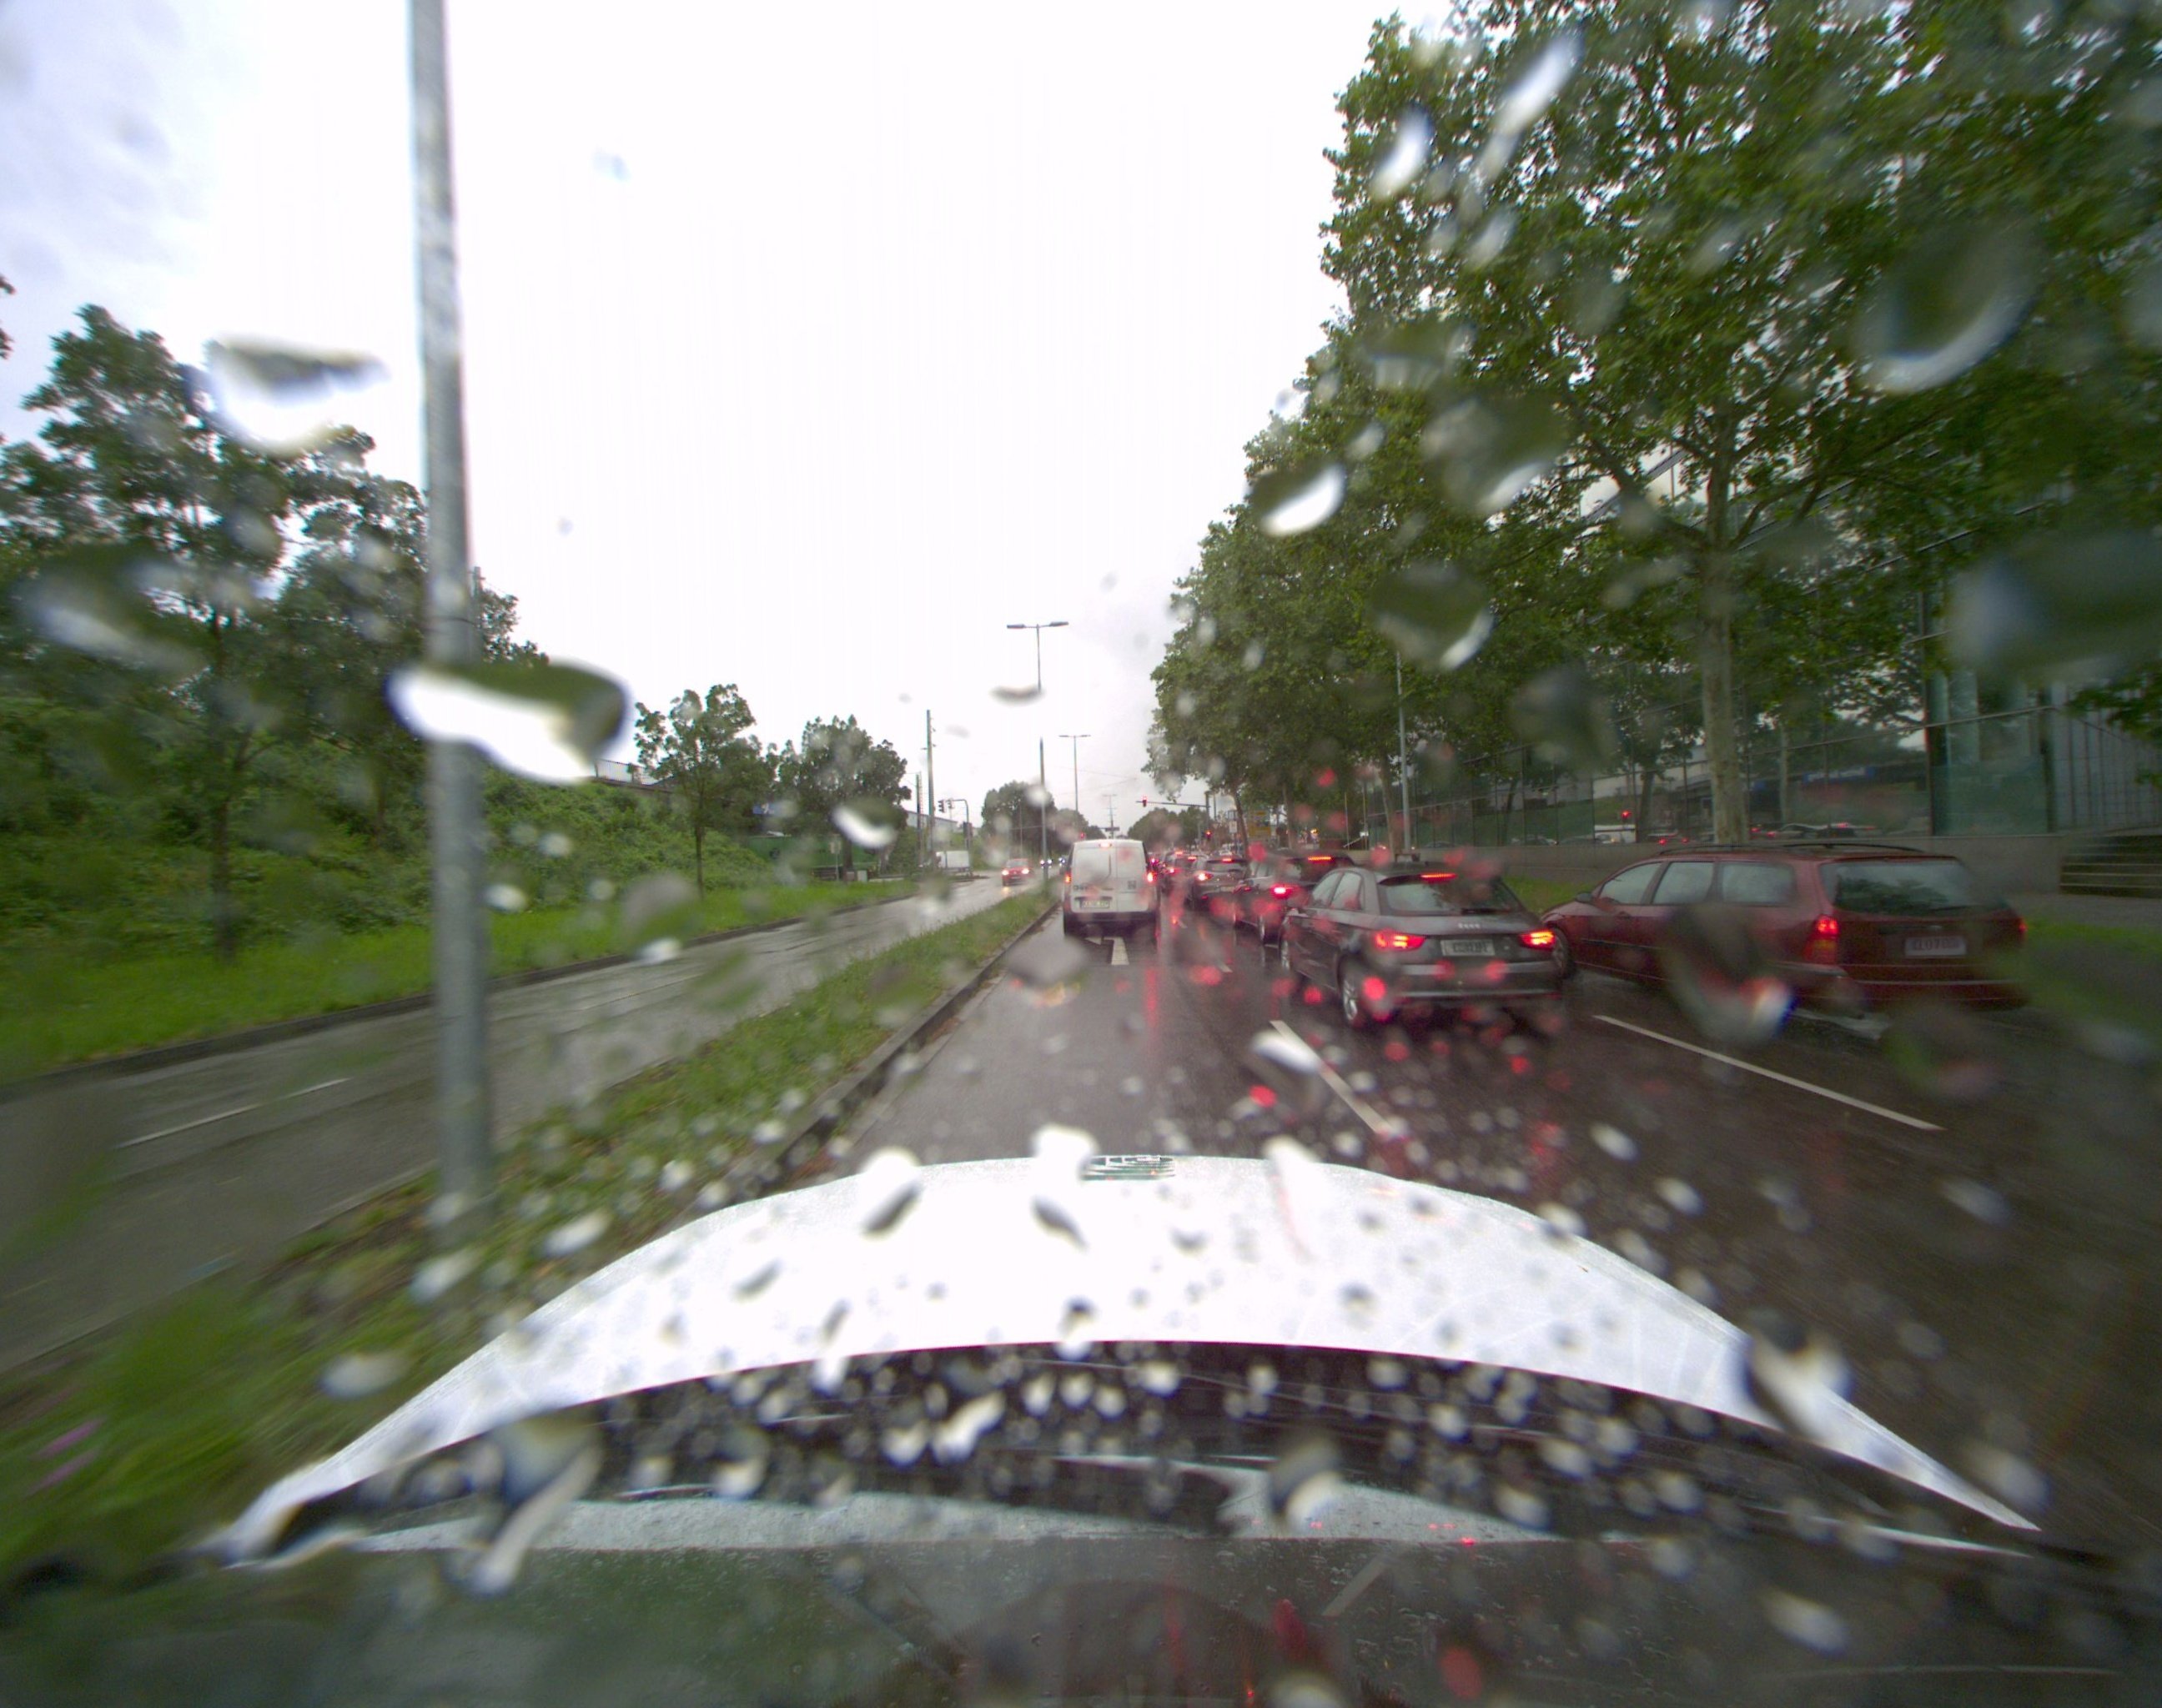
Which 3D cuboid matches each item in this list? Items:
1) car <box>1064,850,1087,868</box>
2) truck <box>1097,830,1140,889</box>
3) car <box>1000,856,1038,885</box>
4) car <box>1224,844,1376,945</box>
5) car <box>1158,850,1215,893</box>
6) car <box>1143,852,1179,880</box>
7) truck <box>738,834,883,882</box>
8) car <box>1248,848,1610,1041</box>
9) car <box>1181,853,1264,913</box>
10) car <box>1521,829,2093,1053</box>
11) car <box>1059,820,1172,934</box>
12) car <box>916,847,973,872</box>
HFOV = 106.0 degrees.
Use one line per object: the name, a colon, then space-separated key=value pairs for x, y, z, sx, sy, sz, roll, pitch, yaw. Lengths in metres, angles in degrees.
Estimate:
car: x=-0.491 y=0.423 z=77.328 sx=1.956 sy=1.525 sz=4.335 roll=-3 pitch=1 yaw=0
truck: x=1.627 y=0.239 z=36.425 sx=1.750 sy=2.466 sz=4.000 roll=-1 pitch=0 yaw=1
car: x=-3.599 y=0.954 z=47.926 sx=1.709 sy=1.513 sz=3.617 roll=-4 pitch=0 yaw=3
car: x=3.806 y=0.611 z=14.826 sx=1.703 sy=1.549 sz=4.000 roll=-1 pitch=1 yaw=0
car: x=3.795 y=0.587 z=29.923 sx=1.705 sy=1.445 sz=4.002 roll=-2 pitch=0 yaw=2
car: x=4.368 y=0.634 z=44.836 sx=1.705 sy=1.445 sz=4.002 roll=-2 pitch=0 yaw=2
truck: x=-20.433 y=0.306 z=61.975 sx=10.183 sy=3.452 sz=2.629 roll=0 pitch=-2 yaw=-35
car: x=3.095 y=0.709 z=8.282 sx=1.987 sy=1.452 sz=4.000 roll=-1 pitch=0 yaw=0
car: x=3.766 y=0.724 z=22.299 sx=1.705 sy=1.445 sz=4.002 roll=-2 pitch=0 yaw=2
car: x=6.183 y=0.623 z=7.753 sx=1.833 sy=1.537 sz=4.112 roll=-1 pitch=0 yaw=1
car: x=0.647 y=0.463 z=16.566 sx=1.987 sy=2.014 sz=4.000 roll=-1 pitch=-2 yaw=1
car: x=-15.238 y=0.604 z=90.938 sx=6.045 sy=2.744 sz=1.978 roll=0 pitch=-2 yaw=-35
